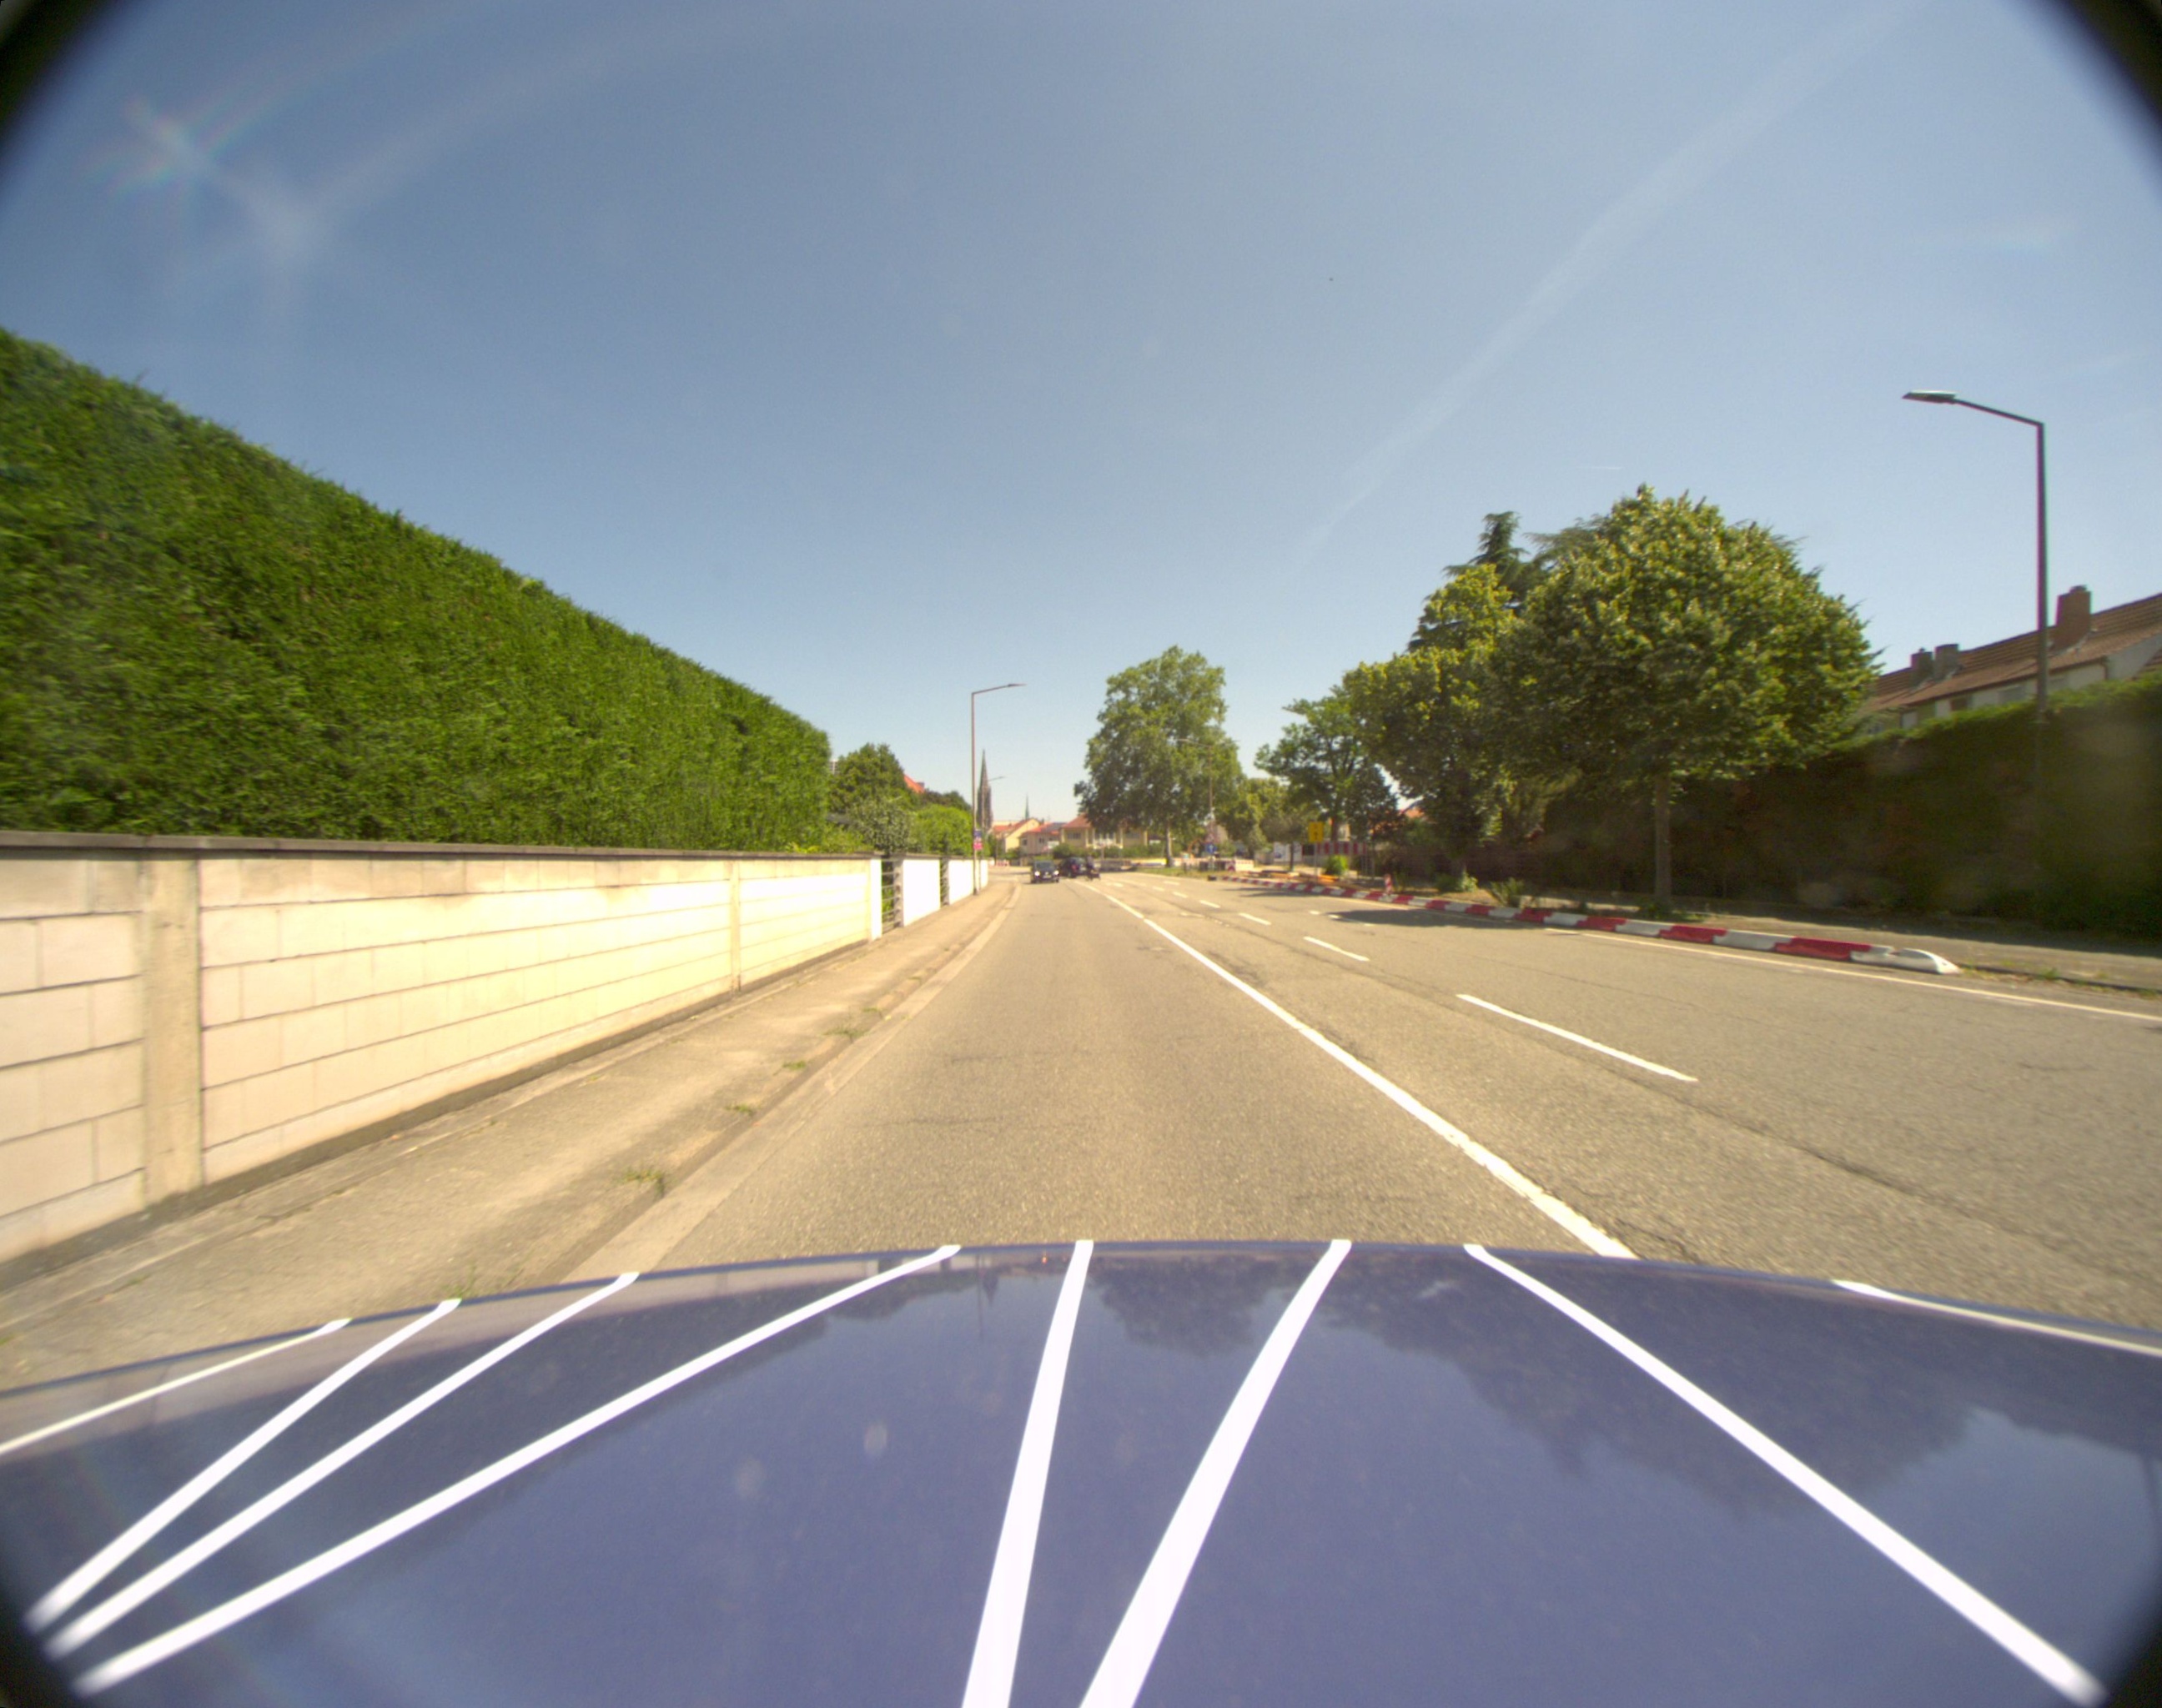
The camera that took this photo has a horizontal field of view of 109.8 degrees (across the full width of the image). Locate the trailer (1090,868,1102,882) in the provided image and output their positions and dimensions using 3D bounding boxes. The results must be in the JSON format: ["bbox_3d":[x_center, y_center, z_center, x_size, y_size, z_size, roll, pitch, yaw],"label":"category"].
[{"bbox_3d":[0.967,1.364,49.136,0.572,0.851,1.131,0,0,-7],"label":"trailer"}]

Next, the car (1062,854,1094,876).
[{"bbox_3d":[-0.250,0.794,56.545,1.731,1.523,3.827,-2,0,-9],"label":"car"}]

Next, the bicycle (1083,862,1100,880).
[{"bbox_3d":[0.710,1.125,51.285,0.853,1.159,1.976,-1,0,-6],"label":"bicycle"}]

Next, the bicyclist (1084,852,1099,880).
[{"bbox_3d":[0.712,0.798,51.249,0.848,1.855,0.976,-1,1,-6],"label":"bicyclist"}]

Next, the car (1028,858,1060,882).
[{"bbox_3d":[-2.478,1.020,50.085,1.609,1.436,3.905,-2,0,-11],"label":"car"}]
